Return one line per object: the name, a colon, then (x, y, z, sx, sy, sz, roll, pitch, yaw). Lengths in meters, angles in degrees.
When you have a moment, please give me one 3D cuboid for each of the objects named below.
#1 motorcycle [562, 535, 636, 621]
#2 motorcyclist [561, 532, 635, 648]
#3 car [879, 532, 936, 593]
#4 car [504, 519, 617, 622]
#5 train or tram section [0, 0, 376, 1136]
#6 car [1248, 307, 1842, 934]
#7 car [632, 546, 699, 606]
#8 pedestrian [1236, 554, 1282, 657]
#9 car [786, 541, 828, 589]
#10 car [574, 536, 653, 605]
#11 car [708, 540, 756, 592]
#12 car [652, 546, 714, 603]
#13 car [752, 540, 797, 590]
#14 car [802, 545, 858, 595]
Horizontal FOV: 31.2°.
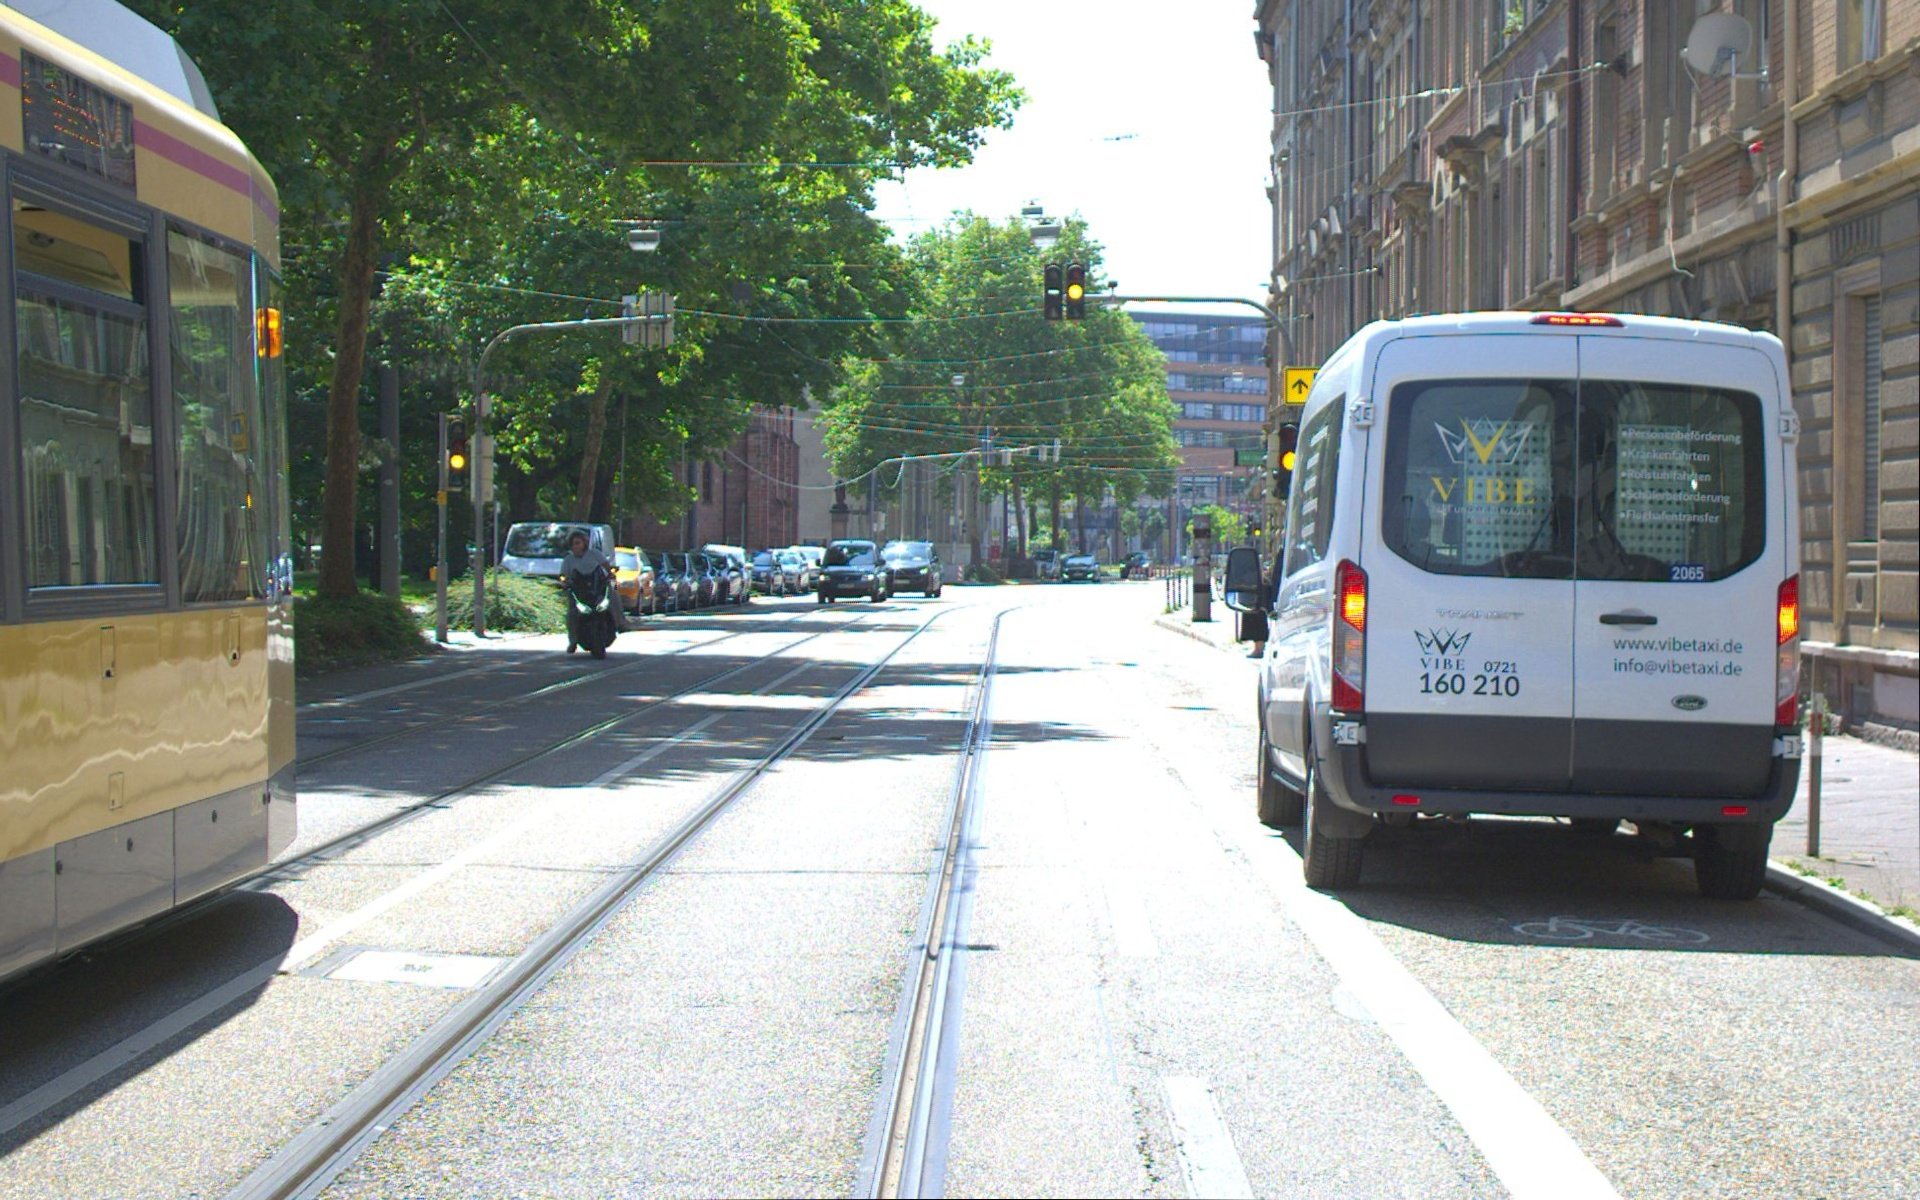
motorcycle: (-4.813, -0.305, 45.789, 0.948, 1.110, 1.603, 1, 1, -6)
motorcyclist: (-4.855, -0.139, 46.104, 0.940, 1.527, 0.501, 1, 1, -6)
car: (-1.664, -1.190, 107.448, 1.674, 1.853, 4.000, 1, 1, -2)
car: (-7.774, -0.592, 67.159, 1.800, 1.916, 4.000, 1, 1, -1)
train or tram section: (-3.989, -0.372, 7.663, 2.960, 3.568, 13.423, 1, 1, 0)
car: (2.603, 0.037, 16.700, 2.067, 2.492, 5.454, 1, 1, 2)
car: (-7.512, -0.629, 87.809, 1.454, 1.491, 3.663, 1, 1, -1)
pedestrian: (4.542, 0.081, 52.304, 0.618, 1.533, 0.464, 1, 1, -1)
car: (-5.651, -1.306, 127.089, 1.454, 1.725, 3.194, 1, 1, -1)
car: (-7.774, -0.686, 77.391, 1.454, 1.491, 3.663, 1, 1, -1)
car: (-7.707, -1.159, 116.558, 1.454, 1.725, 3.194, 1, 1, -1)
car: (-7.527, -0.720, 93.693, 1.454, 1.491, 3.663, 1, 1, -1)
car: (-6.575, -1.244, 122.144, 1.454, 1.725, 3.194, 1, 1, -1)
car: (-3.757, -0.878, 99.750, 1.528, 1.404, 3.490, 1, 1, -1)
